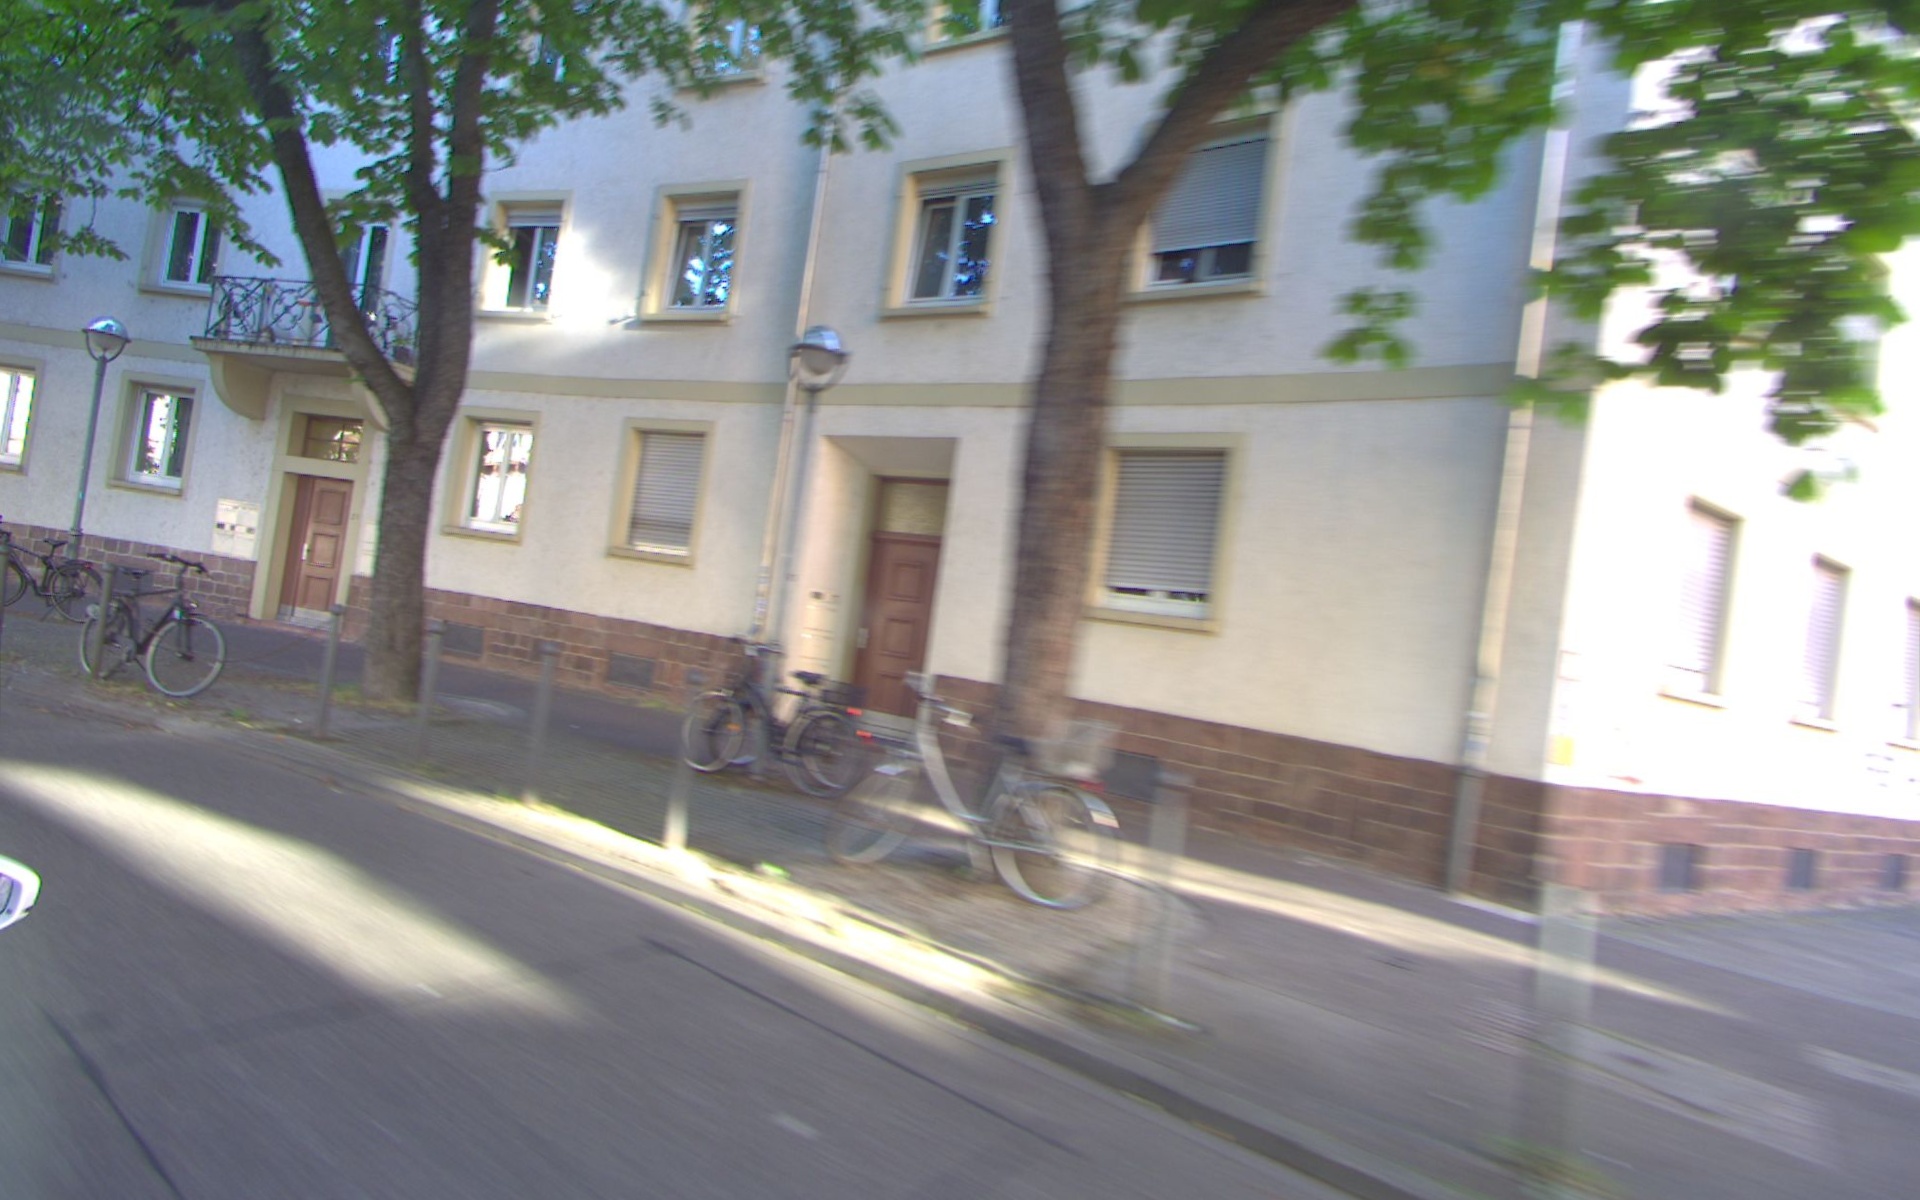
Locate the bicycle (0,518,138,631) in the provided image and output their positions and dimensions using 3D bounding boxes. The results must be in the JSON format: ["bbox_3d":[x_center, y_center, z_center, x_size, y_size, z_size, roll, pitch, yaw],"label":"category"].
[{"bbox_3d":[-11.247,-0.337,12.218,1.791,1.197,0.672,7,1,-8],"label":"bicycle"}]

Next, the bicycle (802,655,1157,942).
[{"bbox_3d":[0.104,1.038,5.621,1.757,1.196,0.556,8,-1,20],"label":"bicycle"}]

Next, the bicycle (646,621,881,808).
[{"bbox_3d":[-1.603,0.896,8.148,1.752,1.194,0.439,8,-1,21],"label":"bicycle"}]

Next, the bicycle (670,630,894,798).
[{"bbox_3d":[-1.527,0.944,8.576,1.769,1.122,0.392,8,-1,19],"label":"bicycle"}]

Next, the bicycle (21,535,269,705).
[{"bbox_3d":[-7.039,0.162,8.686,1.964,1.172,0.682,7,0,21],"label":"bicycle"}]
